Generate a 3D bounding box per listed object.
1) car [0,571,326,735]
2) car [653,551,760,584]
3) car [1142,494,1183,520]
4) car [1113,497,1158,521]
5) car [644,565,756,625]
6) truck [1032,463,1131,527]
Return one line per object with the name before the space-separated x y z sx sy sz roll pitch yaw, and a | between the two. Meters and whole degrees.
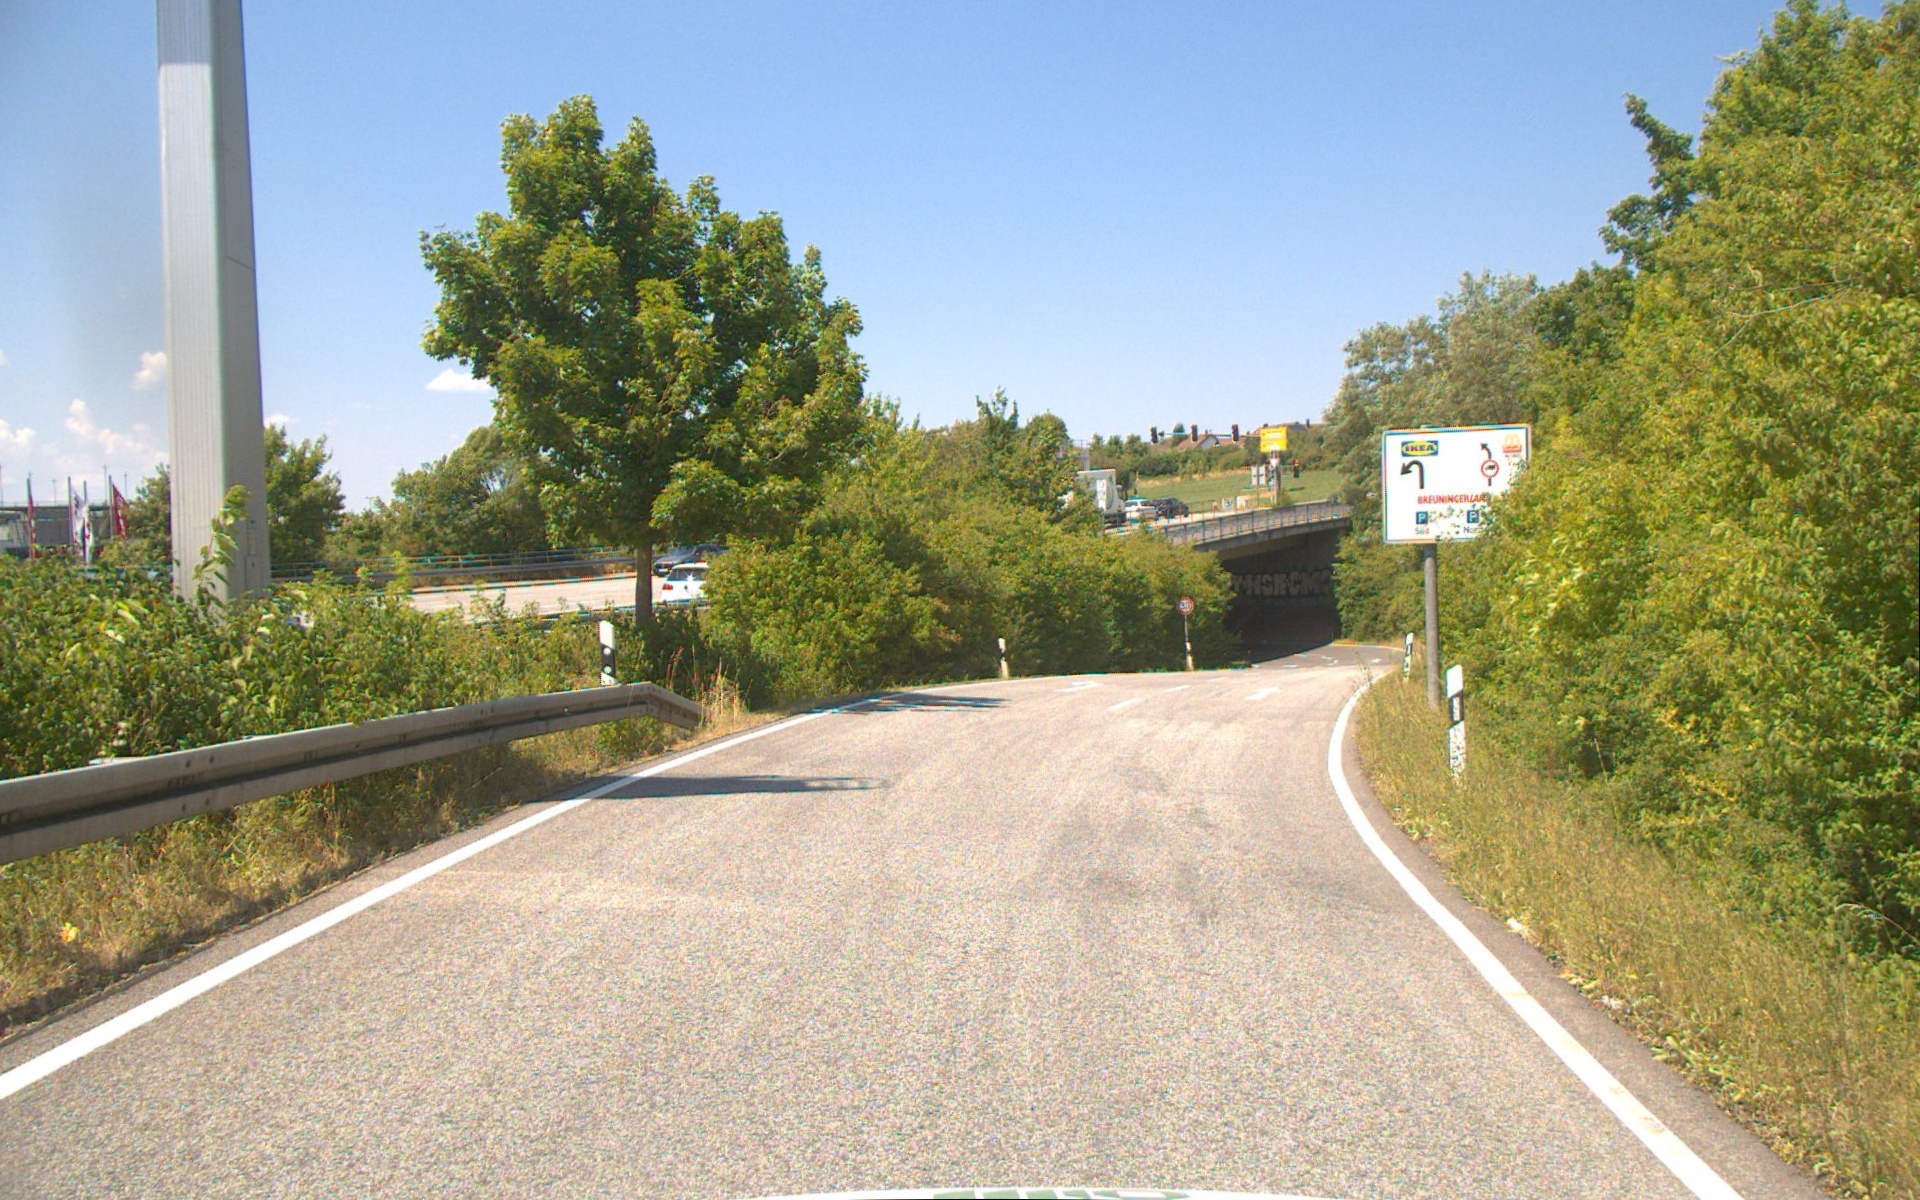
car | -8.893 0.508 18.738 1.696 1.572 4.732 -2 0 -2
car | -12.219 -1.577 80.089 2.110 1.467 5.832 -1 1 27
car | 14.365 -6.560 117.296 1.952 1.646 4.000 0 0 21
car | 11.765 -6.049 110.607 1.859 1.387 3.998 0 0 24
car | -7.009 -0.137 44.975 1.951 1.512 4.138 -1 0 6
truck | 7.787 -6.590 104.670 2.968 3.651 8.896 -3 1 26
